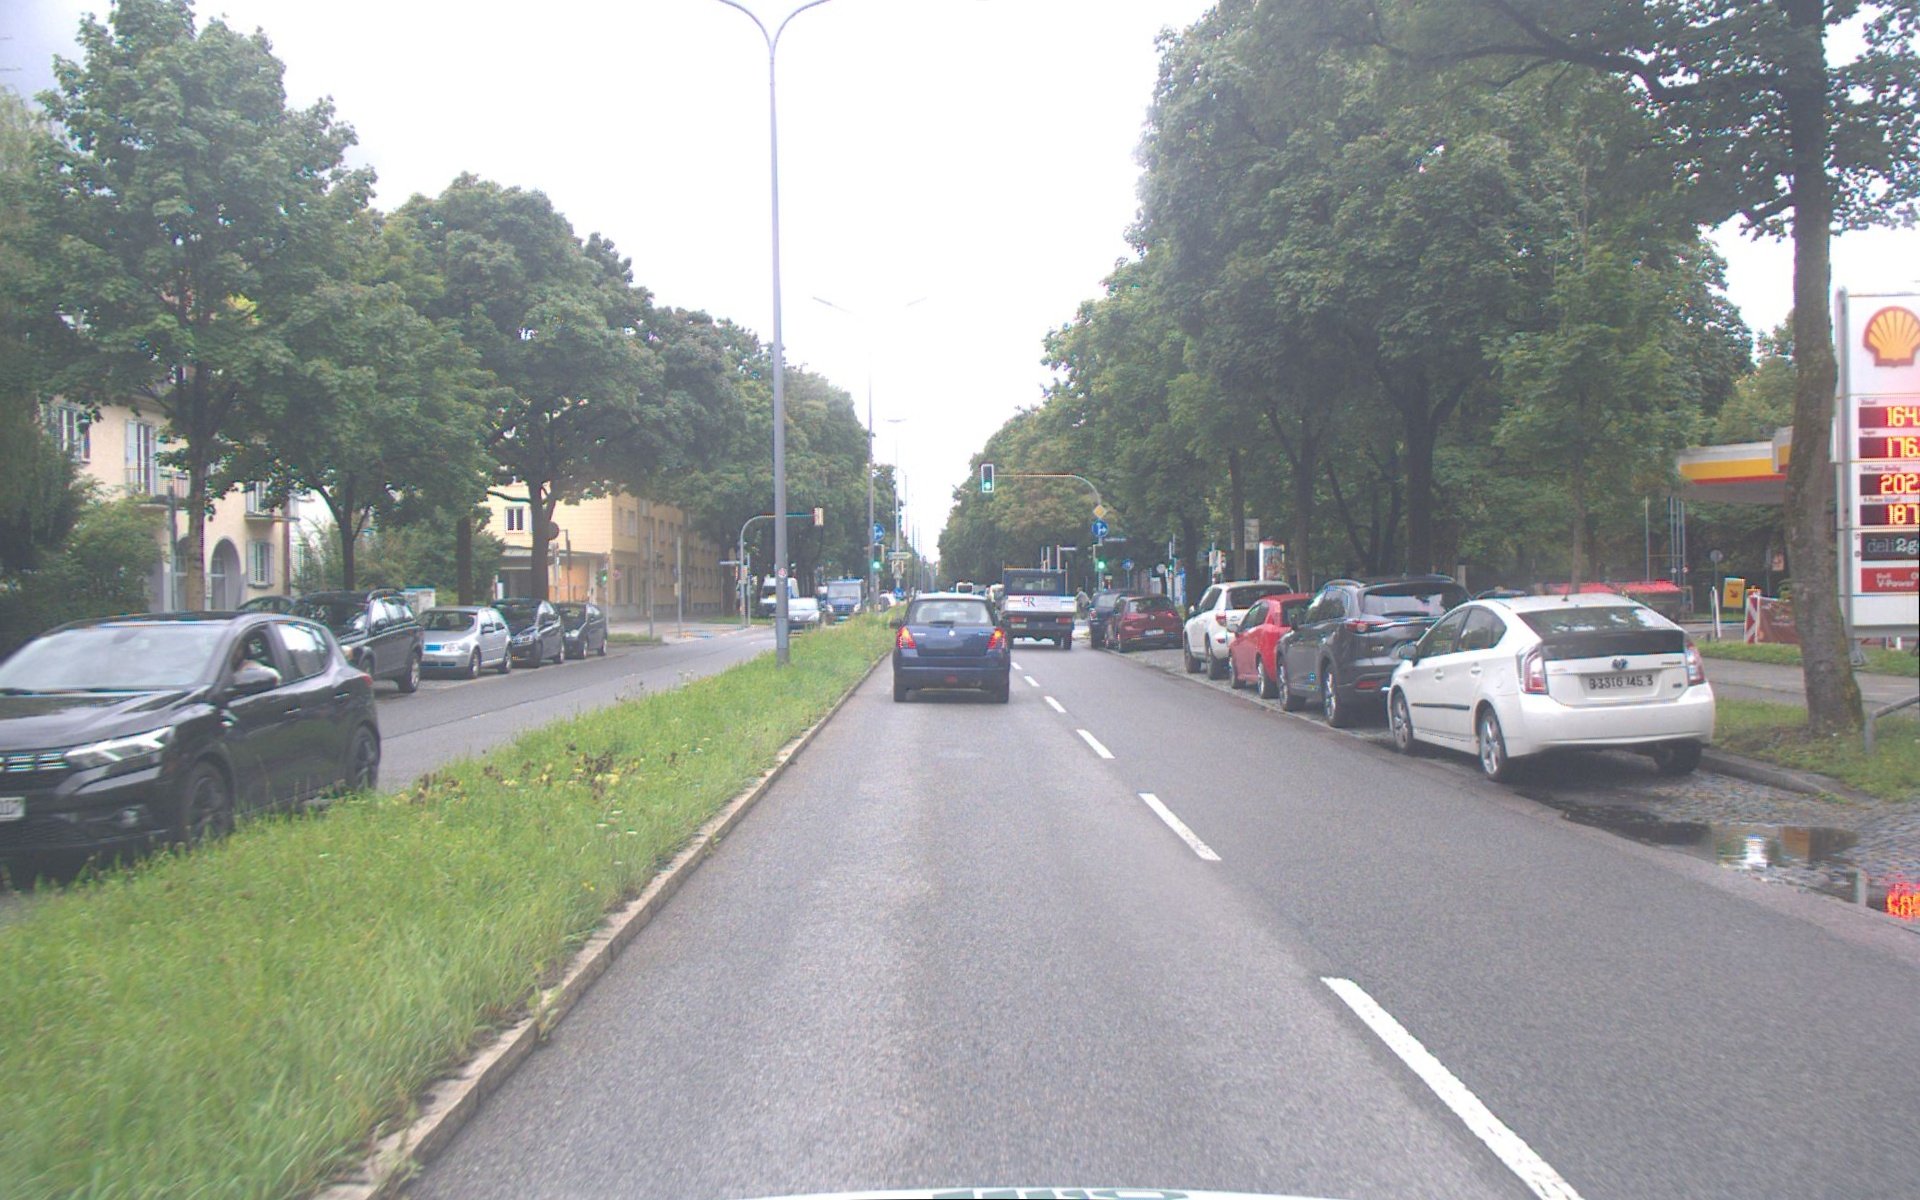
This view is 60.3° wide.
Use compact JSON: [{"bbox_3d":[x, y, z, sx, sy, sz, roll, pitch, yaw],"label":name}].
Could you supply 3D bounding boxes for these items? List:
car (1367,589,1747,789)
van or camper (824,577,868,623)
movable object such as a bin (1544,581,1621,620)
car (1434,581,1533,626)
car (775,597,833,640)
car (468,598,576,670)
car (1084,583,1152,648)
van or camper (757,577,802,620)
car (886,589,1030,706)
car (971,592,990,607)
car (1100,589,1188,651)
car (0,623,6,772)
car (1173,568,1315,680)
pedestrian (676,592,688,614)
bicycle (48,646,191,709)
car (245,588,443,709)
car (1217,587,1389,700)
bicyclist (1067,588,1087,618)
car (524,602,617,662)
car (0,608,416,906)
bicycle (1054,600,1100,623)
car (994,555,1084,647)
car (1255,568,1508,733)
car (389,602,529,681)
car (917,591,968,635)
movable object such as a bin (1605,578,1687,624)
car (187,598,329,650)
[{"bbox_3d":[5.252,0.685,15.283,1.725,1.479,4.632,-3,0,-1],"label":"car"},{"bbox_3d":[-5.916,-0.018,86.398,1.982,2.300,6.020,-2,0,-2],"label":"van or camper"},{"bbox_3d":[21.320,0.014,56.686,2.018,1.285,1.531,-1,0,-1],"label":"movable object such as a bin"},{"bbox_3d":[23.525,0.157,74.435,3.799,1.638,1.934,-5,0,6],"label":"car"},{"bbox_3d":[-5.744,0.666,61.291,1.702,1.467,4.103,-2,0,0],"label":"car"},{"bbox_3d":[-10.471,0.772,39.786,1.633,1.589,4.297,-1,0,-3],"label":"car"},{"bbox_3d":[4.701,0.421,49.664,1.726,1.686,4.285,-5,0,3],"label":"car"},{"bbox_3d":[-11.183,-0.096,102.674,2.096,2.519,6.258,-2,0,0],"label":"van or camper"},{"bbox_3d":[-0.107,0.636,24.331,1.859,1.525,3.657,-2,0,-4],"label":"car"},{"bbox_3d":[2.168,-0.024,173.598,1.751,1.525,3.657,0,0,-4],"label":"car"},{"bbox_3d":[4.934,0.504,44.894,1.678,1.449,4.281,-5,0,-2],"label":"car"},{"bbox_3d":[-10.225,0.945,14.110,1.640,1.468,4.319,2,0,0],"label":"car"},{"bbox_3d":[5.219,0.399,30.953,1.725,1.862,4.527,-3,0,-1],"label":"car"},{"bbox_3d":[-18.131,0.204,107.791,0.616,1.465,0.806,1,0,-1],"label":"pedestrian"},{"bbox_3d":[-12.528,1.147,24.711,1.422,0.843,1.404,1,0,-1],"label":"bicycle"},{"bbox_3d":[-10.259,0.732,27.974,1.761,1.794,5.053,2,0,-5],"label":"car"},{"bbox_3d":[5.262,0.613,25.904,1.725,1.533,4.143,-3,0,-1],"label":"car"},{"bbox_3d":[5.895,0.147,83.292,0.911,1.505,0.990,0,0,1],"label":"bicyclist"},{"bbox_3d":[-10.622,0.840,45.339,1.532,1.475,3.838,2,0,1],"label":"car"},{"bbox_3d":[-5.048,0.831,10.639,1.703,1.465,4.214,-1,0,0],"label":"car"},{"bbox_3d":[5.907,0.556,83.293,2.250,1.133,0.996,0,0,0],"label":"bicycle"},{"bbox_3d":[2.187,0.019,47.286,2.369,2.487,5.087,0,0,1],"label":"car"},{"bbox_3d":[5.113,0.541,20.843,1.725,1.728,5.229,-3,0,-1],"label":"car"},{"bbox_3d":[-10.428,0.820,34.759,1.632,1.470,4.374,2,0,-1],"label":"car"},{"bbox_3d":[-0.657,0.442,59.299,1.763,1.525,3.659,-1,0,-2],"label":"car"},{"bbox_3d":[23.504,0.043,56.724,2.019,1.512,1.837,-1,0,-1],"label":"movable object such as a bin"},{"bbox_3d":[-21.210,0.711,50.070,3.560,1.487,1.671,-1,0,-3],"label":"car"}]
